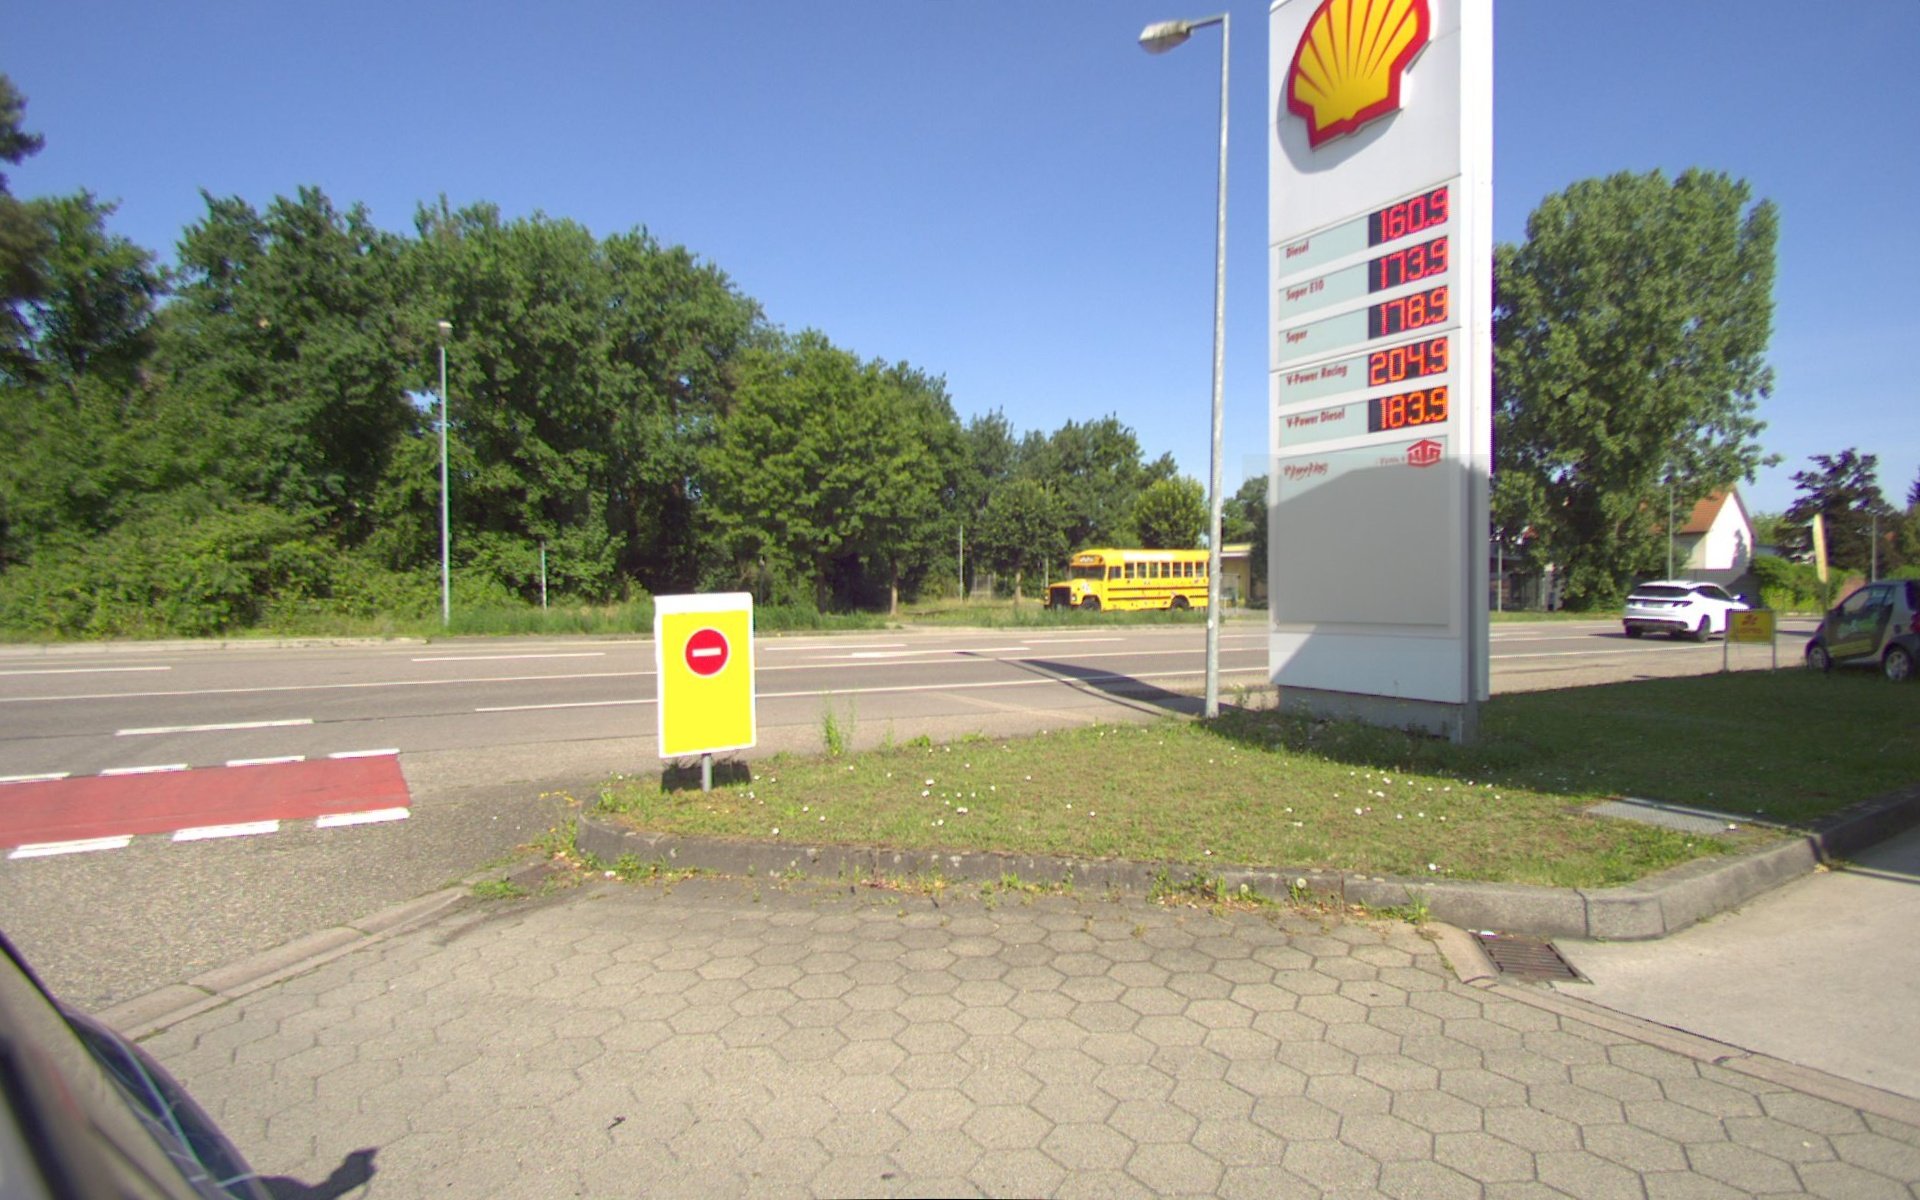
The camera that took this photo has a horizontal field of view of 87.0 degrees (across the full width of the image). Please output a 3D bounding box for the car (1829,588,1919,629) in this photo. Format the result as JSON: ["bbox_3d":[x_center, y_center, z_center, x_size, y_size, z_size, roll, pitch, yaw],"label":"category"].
[{"bbox_3d":[35.320,0.278,39.007,3.987,1.441,1.656,-1,3,-33],"label":"car"}]

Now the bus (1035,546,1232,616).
[{"bbox_3d":[7.458,-0.759,42.776,8.847,2.699,2.595,0,2,-35],"label":"bus"}]

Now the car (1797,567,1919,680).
[{"bbox_3d":[14.102,0.336,14.906,1.561,1.541,2.721,2,1,11],"label":"car"}]

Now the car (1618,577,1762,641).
[{"bbox_3d":[20.578,0.207,28.498,4.234,1.660,1.819,0,2,-32],"label":"car"}]
